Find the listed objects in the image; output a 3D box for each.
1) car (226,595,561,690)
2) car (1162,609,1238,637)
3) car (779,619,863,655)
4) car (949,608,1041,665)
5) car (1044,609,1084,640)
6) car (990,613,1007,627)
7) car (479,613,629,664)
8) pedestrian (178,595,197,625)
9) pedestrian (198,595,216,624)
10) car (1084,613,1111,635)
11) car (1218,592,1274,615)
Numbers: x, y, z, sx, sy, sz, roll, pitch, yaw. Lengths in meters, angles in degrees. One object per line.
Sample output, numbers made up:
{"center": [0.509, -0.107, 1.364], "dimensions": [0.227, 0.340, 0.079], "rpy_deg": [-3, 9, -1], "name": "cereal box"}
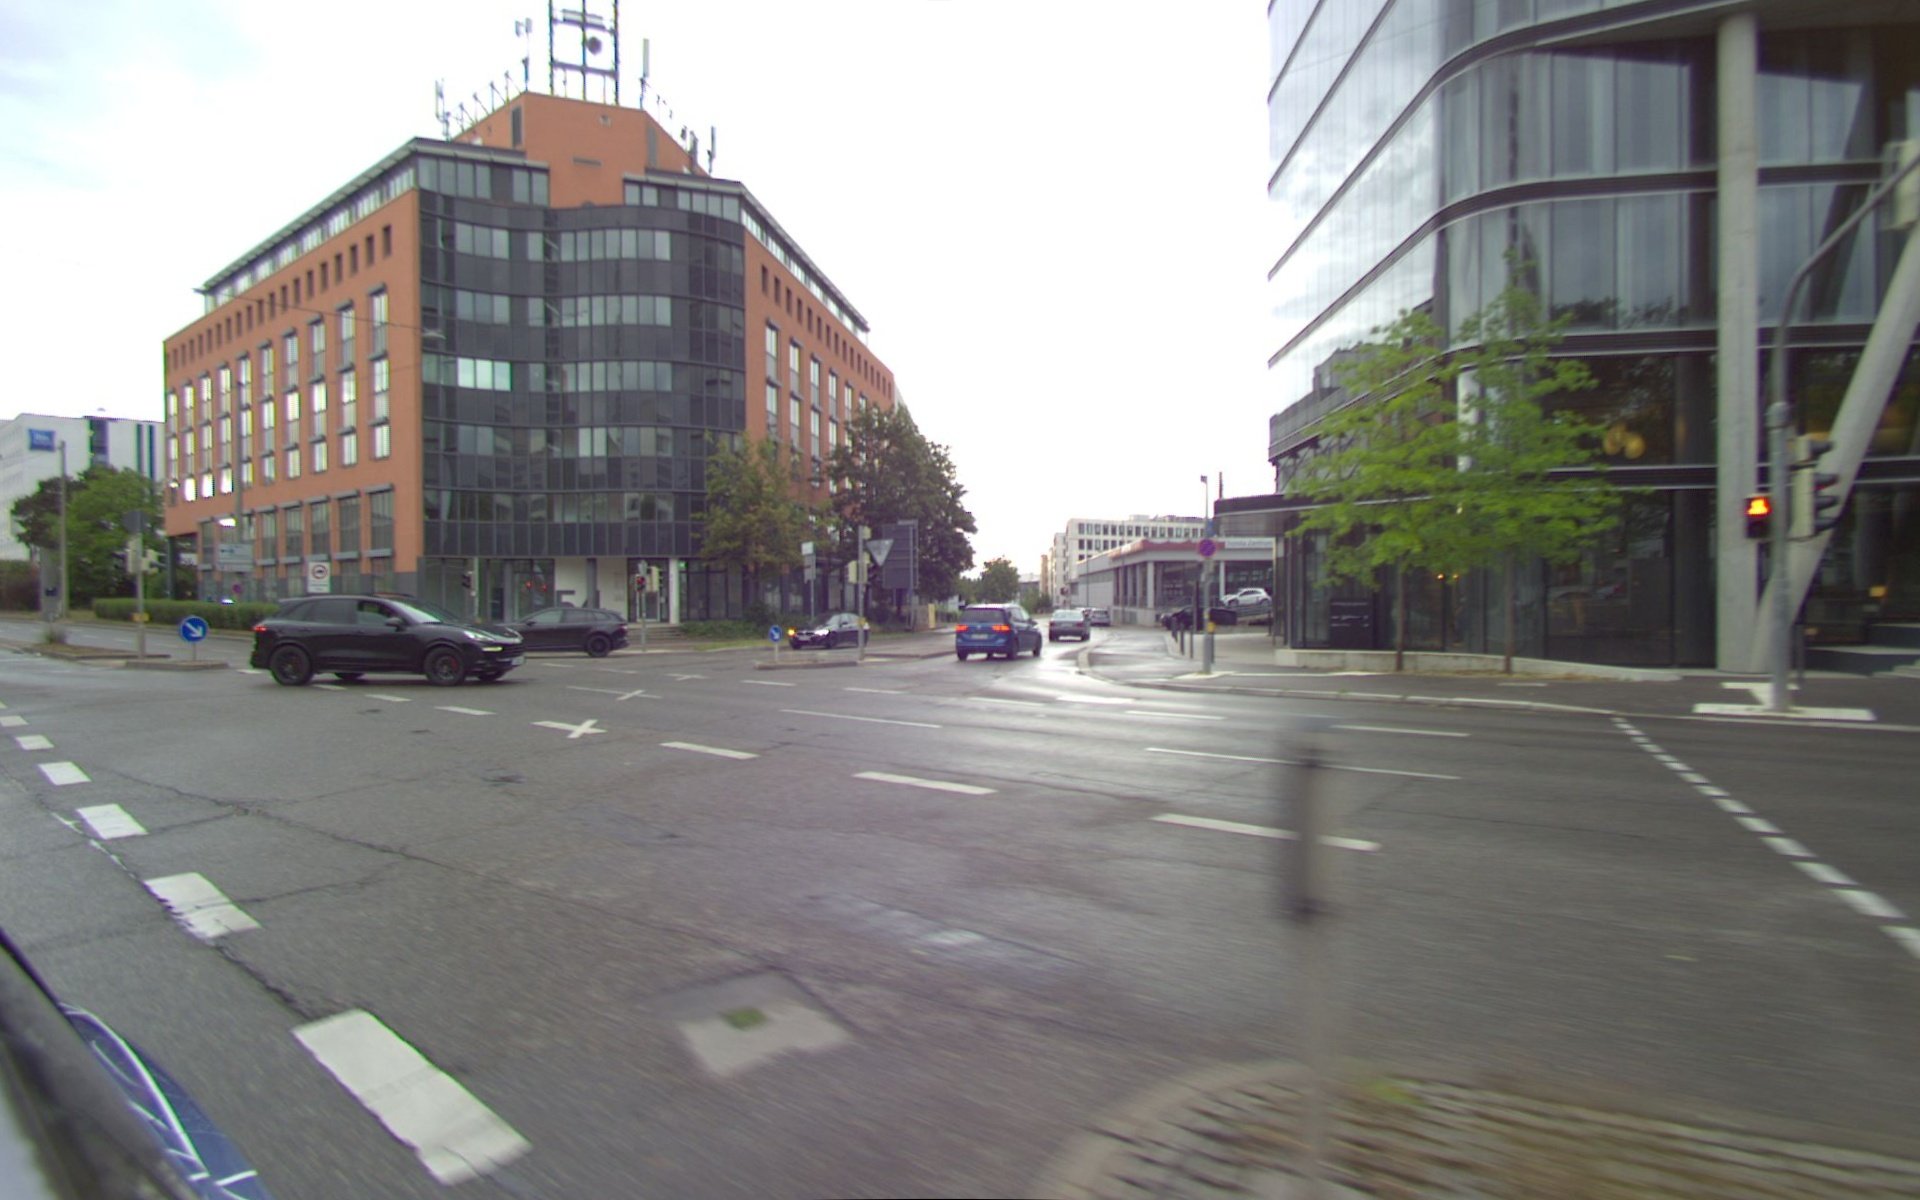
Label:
{"center": [-10.623, 0.776, 19.227], "dimensions": [5.353, 1.679, 1.998], "rpy_deg": [0, 0, 3], "name": "car"}
{"center": [16.449, 1.543, 69.598], "dimensions": [4.943, 1.829, 1.794], "rpy_deg": [1, -1, 8], "name": "car"}
{"center": [-5.572, 1.452, 41.100], "dimensions": [1.838, 1.373, 3.975], "rpy_deg": [0, -1, 19], "name": "car"}
{"center": [1.154, 1.068, 30.828], "dimensions": [1.763, 1.608, 4.172], "rpy_deg": [0, -1, 18], "name": "car"}
{"center": [5.242, 1.200, 50.785], "dimensions": [1.831, 1.522, 4.038], "rpy_deg": [0, -1, 8], "name": "car"}
{"center": [4.289, 2.182, 111.697], "dimensions": [1.777, 1.522, 3.995], "rpy_deg": [0, -1, 4], "name": "car"}
{"center": [-12.868, 1.208, 32.122], "dimensions": [4.297, 1.522, 1.863], "rpy_deg": [1, -2, -26], "name": "car"}
{"center": [-49.739, 0.638, 65.175], "dimensions": [0.885, 1.854, 0.738], "rpy_deg": [0, 1, 39], "name": "pedestrian"}
{"center": [-48.769, 0.627, 65.543], "dimensions": [0.885, 1.854, 0.738], "rpy_deg": [0, 1, 39], "name": "pedestrian"}
{"center": [11.957, 2.061, 88.259], "dimensions": [1.974, 1.918, 3.996], "rpy_deg": [0, -1, 3], "name": "car"}
{"center": [21.703, 0.271, 76.782], "dimensions": [3.766, 1.662, 1.815], "rpy_deg": [0, -1, 4], "name": "car"}
